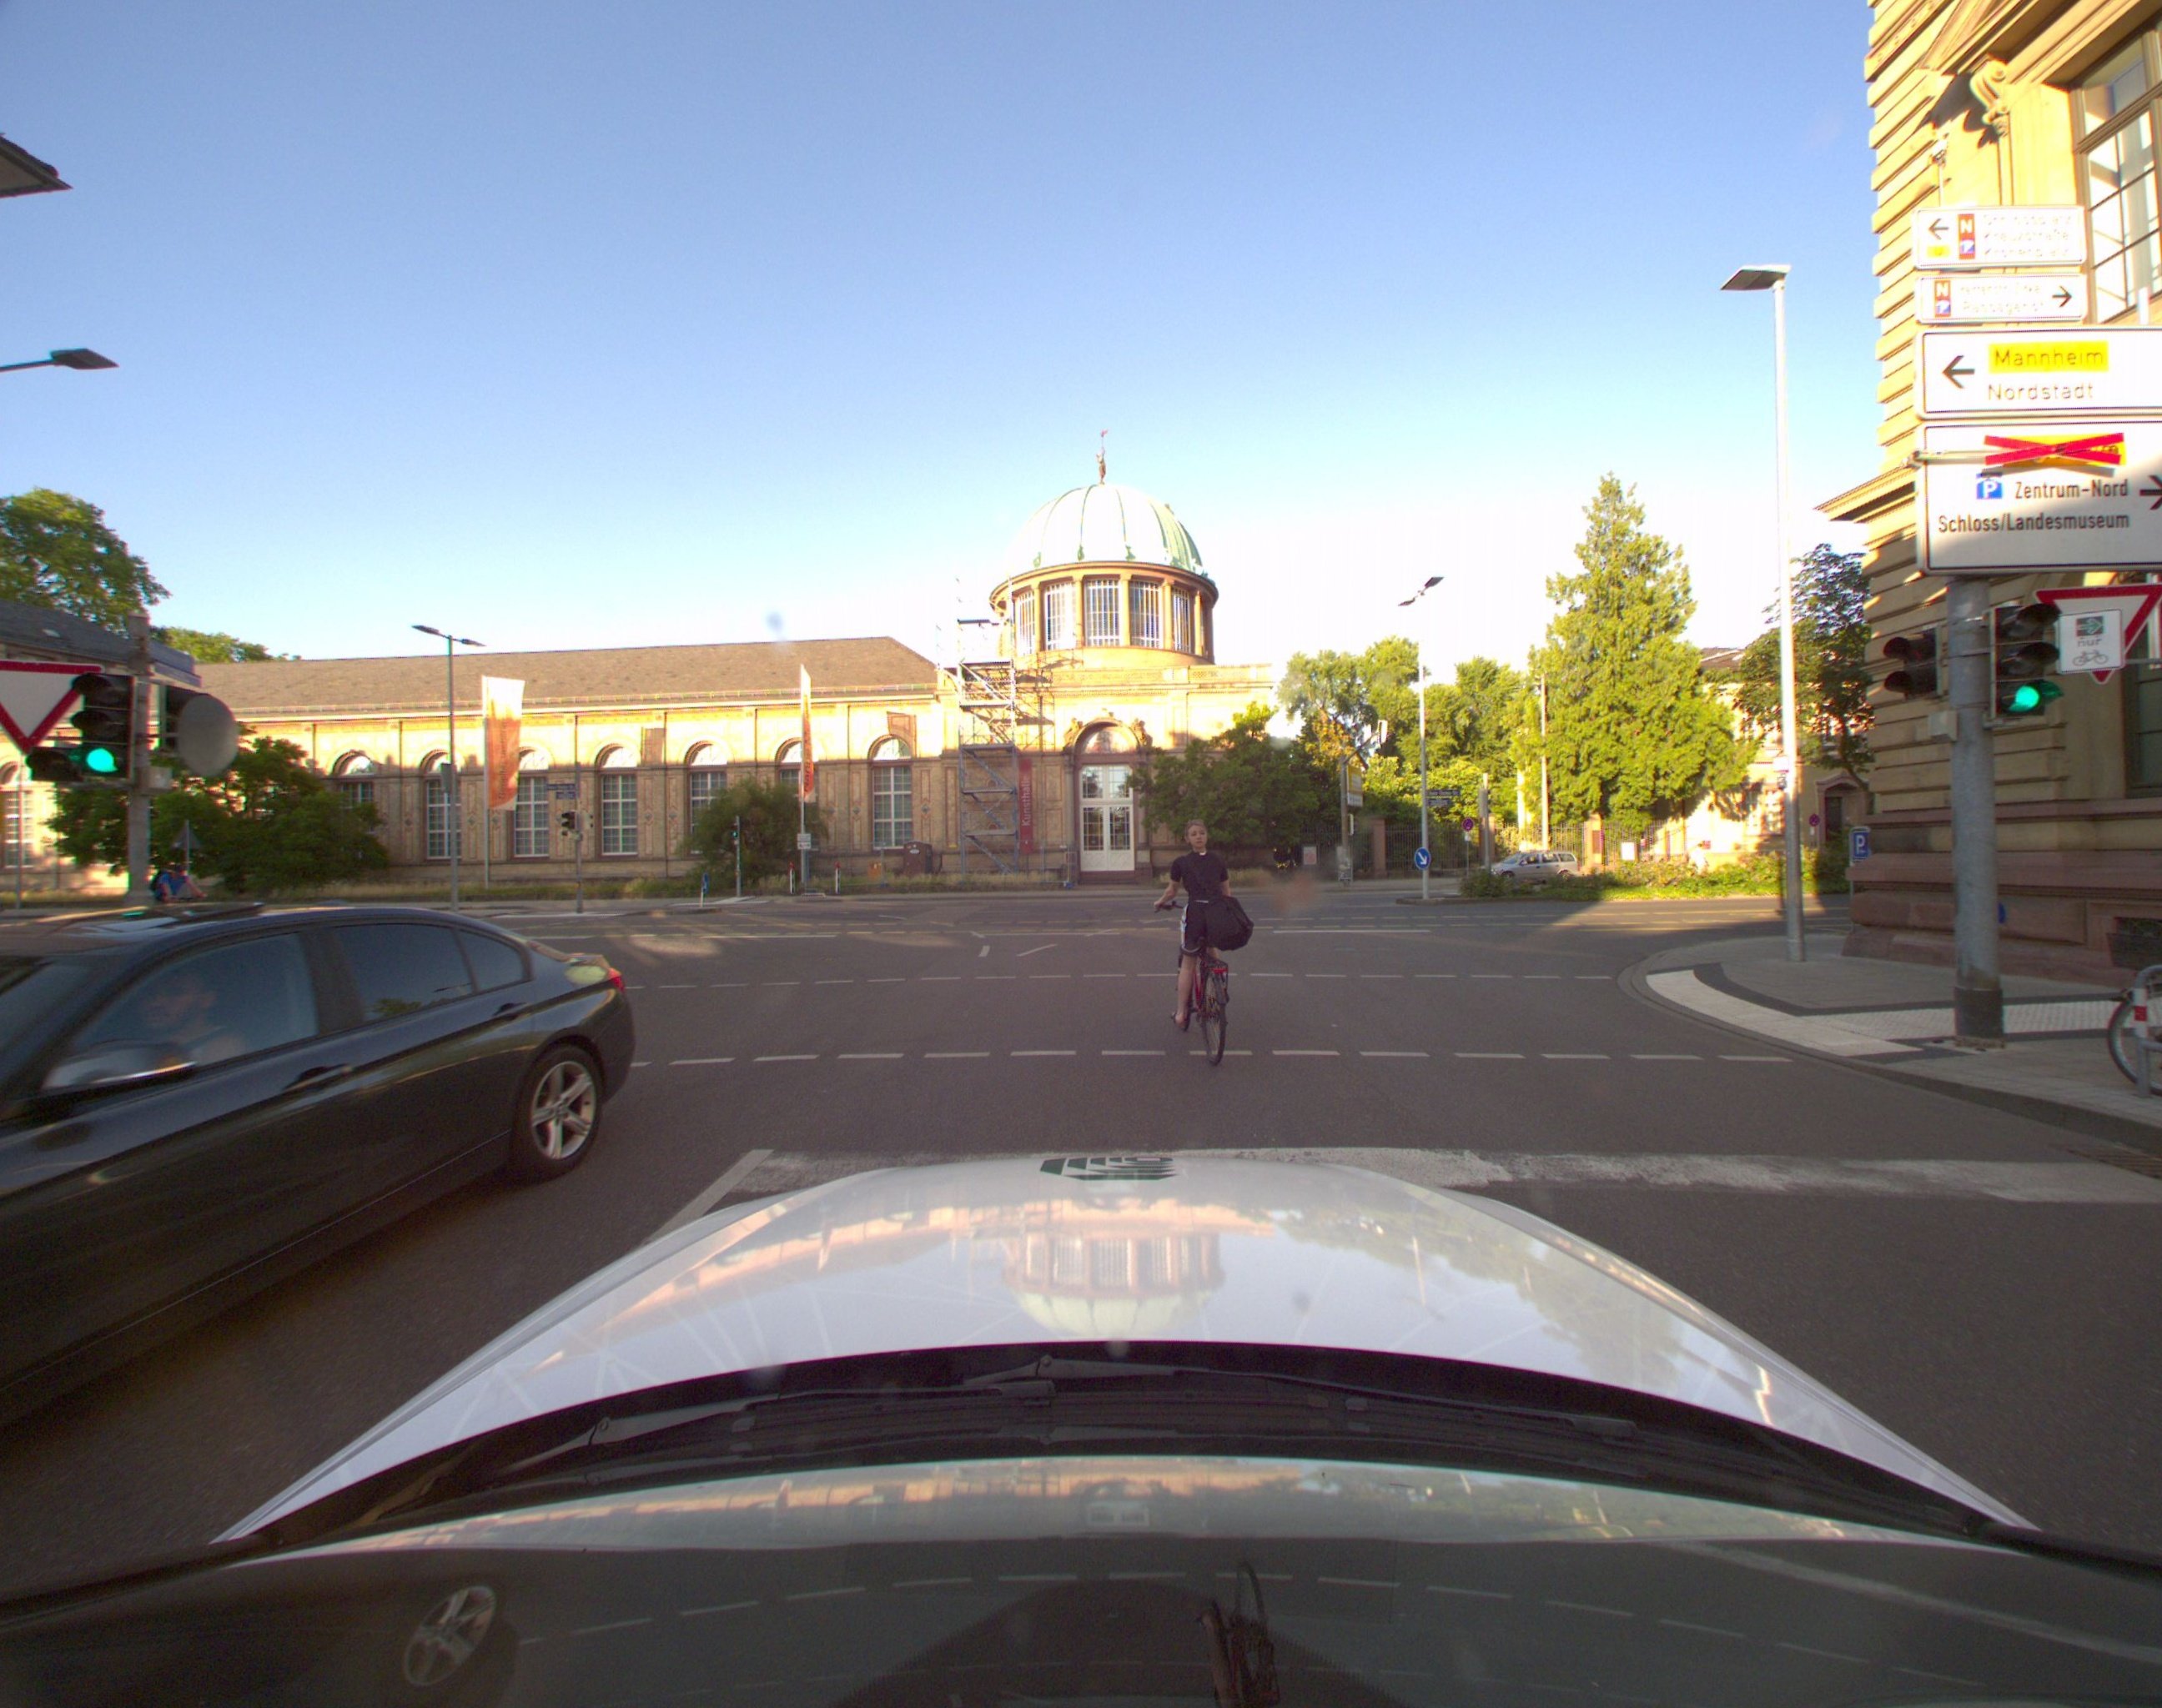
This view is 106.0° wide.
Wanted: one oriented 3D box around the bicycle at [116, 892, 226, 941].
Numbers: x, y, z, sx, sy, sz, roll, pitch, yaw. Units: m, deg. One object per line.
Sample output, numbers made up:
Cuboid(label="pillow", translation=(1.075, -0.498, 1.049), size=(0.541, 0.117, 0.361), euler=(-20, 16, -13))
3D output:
Cuboid(label="bicycle", translation=(-21.265, 1.459, 19.050), size=(1.983, 1.067, 0.725), euler=(-1, 0, 8))

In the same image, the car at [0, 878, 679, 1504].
Cuboid(label="car", translation=(-3.499, 0.888, 2.885), size=(1.775, 1.459, 4.425), euler=(-2, -1, 2))

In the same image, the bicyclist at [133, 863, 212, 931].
Cuboid(label="bicyclist", translation=(-21.237, 0.992, 19.045), size=(1.115, 1.544, 0.715), euler=(-1, 0, 8))

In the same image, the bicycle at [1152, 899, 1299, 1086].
Cuboid(label="bicycle", translation=(1.038, 0.961, 6.374), size=(0.709, 1.156, 2.067), euler=(-1, -2, -1))

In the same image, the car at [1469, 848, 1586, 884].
Cuboid(label="car", translation=(19.434, 0.506, 35.538), size=(4.176, 1.445, 1.713), euler=(-1, 0, -4))

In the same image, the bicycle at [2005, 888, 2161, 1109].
Cuboid(label="bicycle", translation=(6.177, 0.786, 4.226), size=(0.580, 1.189, 1.921), euler=(-1, -2, 2))

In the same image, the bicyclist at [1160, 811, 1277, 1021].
Cuboid(label="bicyclist", translation=(1.036, 0.458, 6.311), size=(0.714, 1.503, 0.850), euler=(-1, -2, -1))
